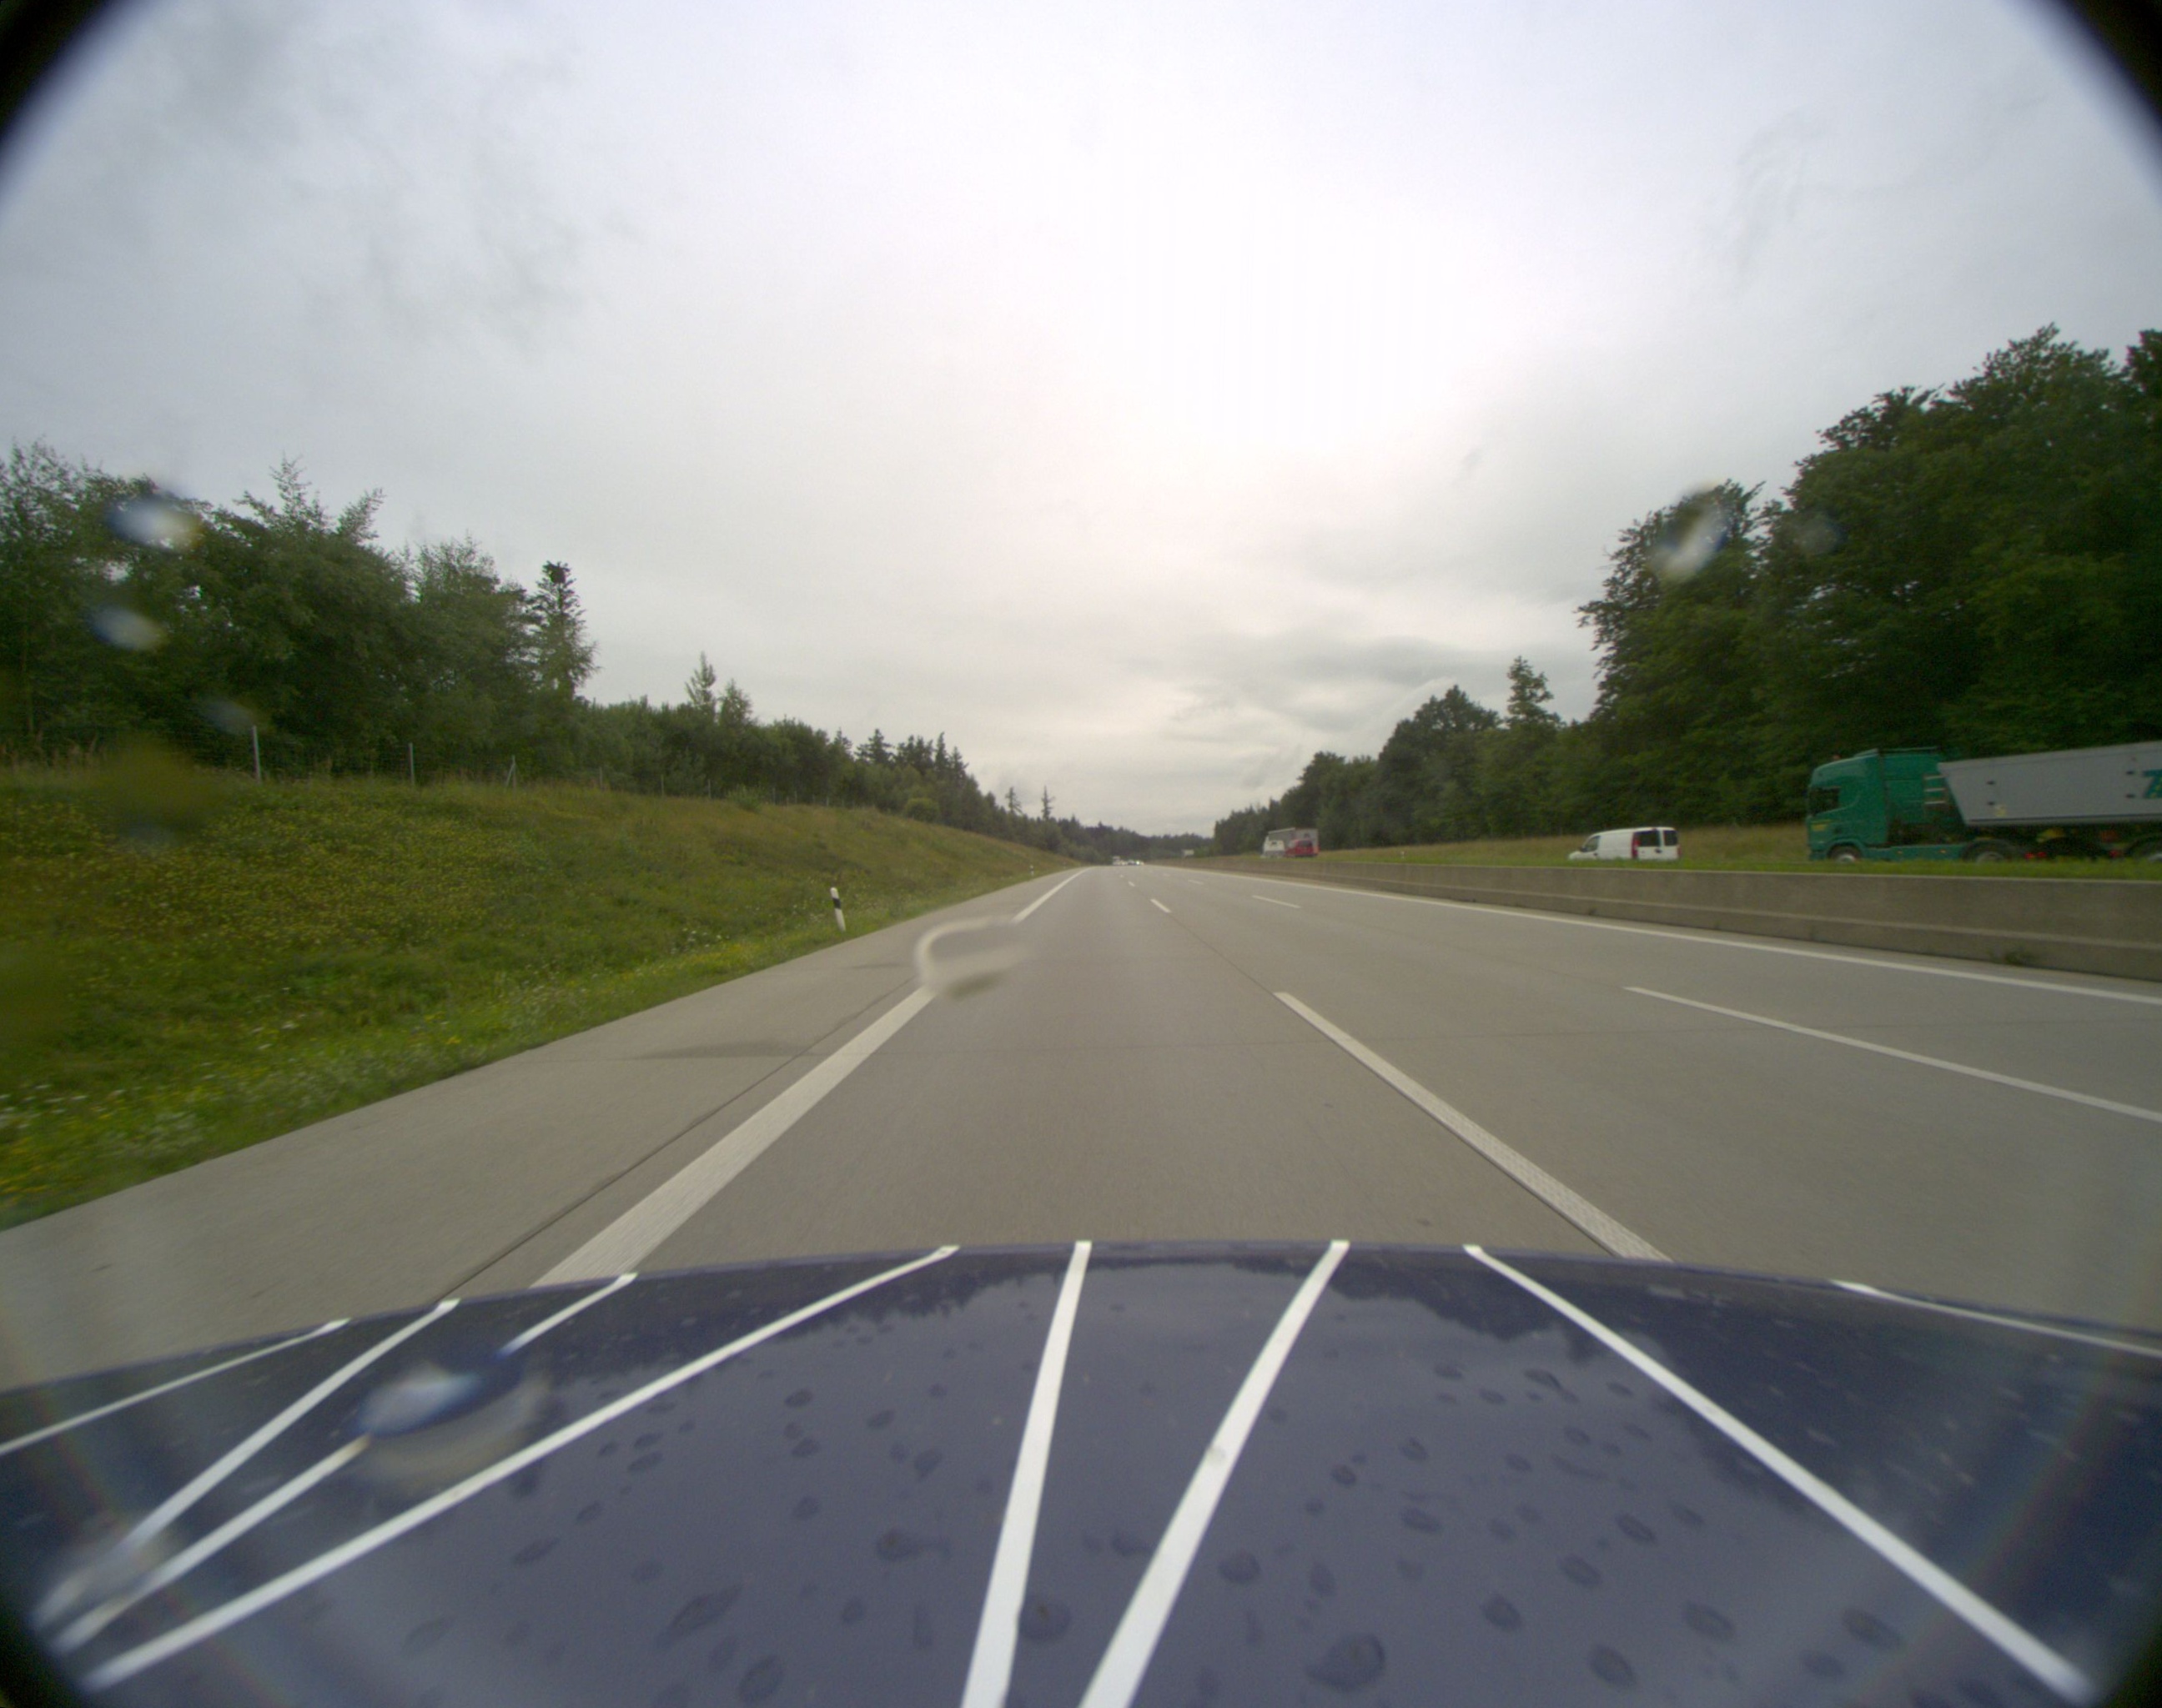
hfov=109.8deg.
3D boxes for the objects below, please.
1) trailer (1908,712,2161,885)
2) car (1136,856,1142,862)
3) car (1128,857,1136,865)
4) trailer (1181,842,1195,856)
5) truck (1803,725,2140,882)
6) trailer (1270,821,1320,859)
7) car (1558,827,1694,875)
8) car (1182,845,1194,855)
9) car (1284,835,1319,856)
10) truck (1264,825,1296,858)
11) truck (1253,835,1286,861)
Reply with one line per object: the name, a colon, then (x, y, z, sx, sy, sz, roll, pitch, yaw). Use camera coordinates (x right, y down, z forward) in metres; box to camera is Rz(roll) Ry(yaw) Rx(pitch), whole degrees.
trailer: (24.354, -1.226, 16.563, 2.811, 3.679, 9.012, -2, 0, 1)
car: (18.975, 1.738, 247.920, 1.764, 1.871, 3.999, -2, 0, 0)
car: (15.239, 2.094, 226.733, 2.213, 2.001, 4.837, -3, -2, 3)
trailer: (32.806, -1.598, 233.616, 2.817, 3.996, 13.992, -2, 0, 3)
truck: (24.401, -1.228, 21.353, 2.787, 3.718, 5.660, -2, 0, 1)
trailer: (25.719, -1.589, 92.189, 2.504, 4.079, 13.976, -2, 0, 2)
car: (19.945, -0.109, 28.077, 1.785, 1.590, 4.560, -2, 0, 1)
car: (23.967, -0.851, 169.928, 2.066, 2.002, 5.427, -2, 0, 2)
car: (20.890, -0.775, 72.333, 1.998, 1.871, 5.314, -2, 0, 3)
truck: (25.952, -1.624, 99.318, 2.514, 4.101, 6.461, -2, 0, 2)
truck: (21.322, -0.639, 86.399, 2.273, 2.772, 6.512, -2, 0, 2)
